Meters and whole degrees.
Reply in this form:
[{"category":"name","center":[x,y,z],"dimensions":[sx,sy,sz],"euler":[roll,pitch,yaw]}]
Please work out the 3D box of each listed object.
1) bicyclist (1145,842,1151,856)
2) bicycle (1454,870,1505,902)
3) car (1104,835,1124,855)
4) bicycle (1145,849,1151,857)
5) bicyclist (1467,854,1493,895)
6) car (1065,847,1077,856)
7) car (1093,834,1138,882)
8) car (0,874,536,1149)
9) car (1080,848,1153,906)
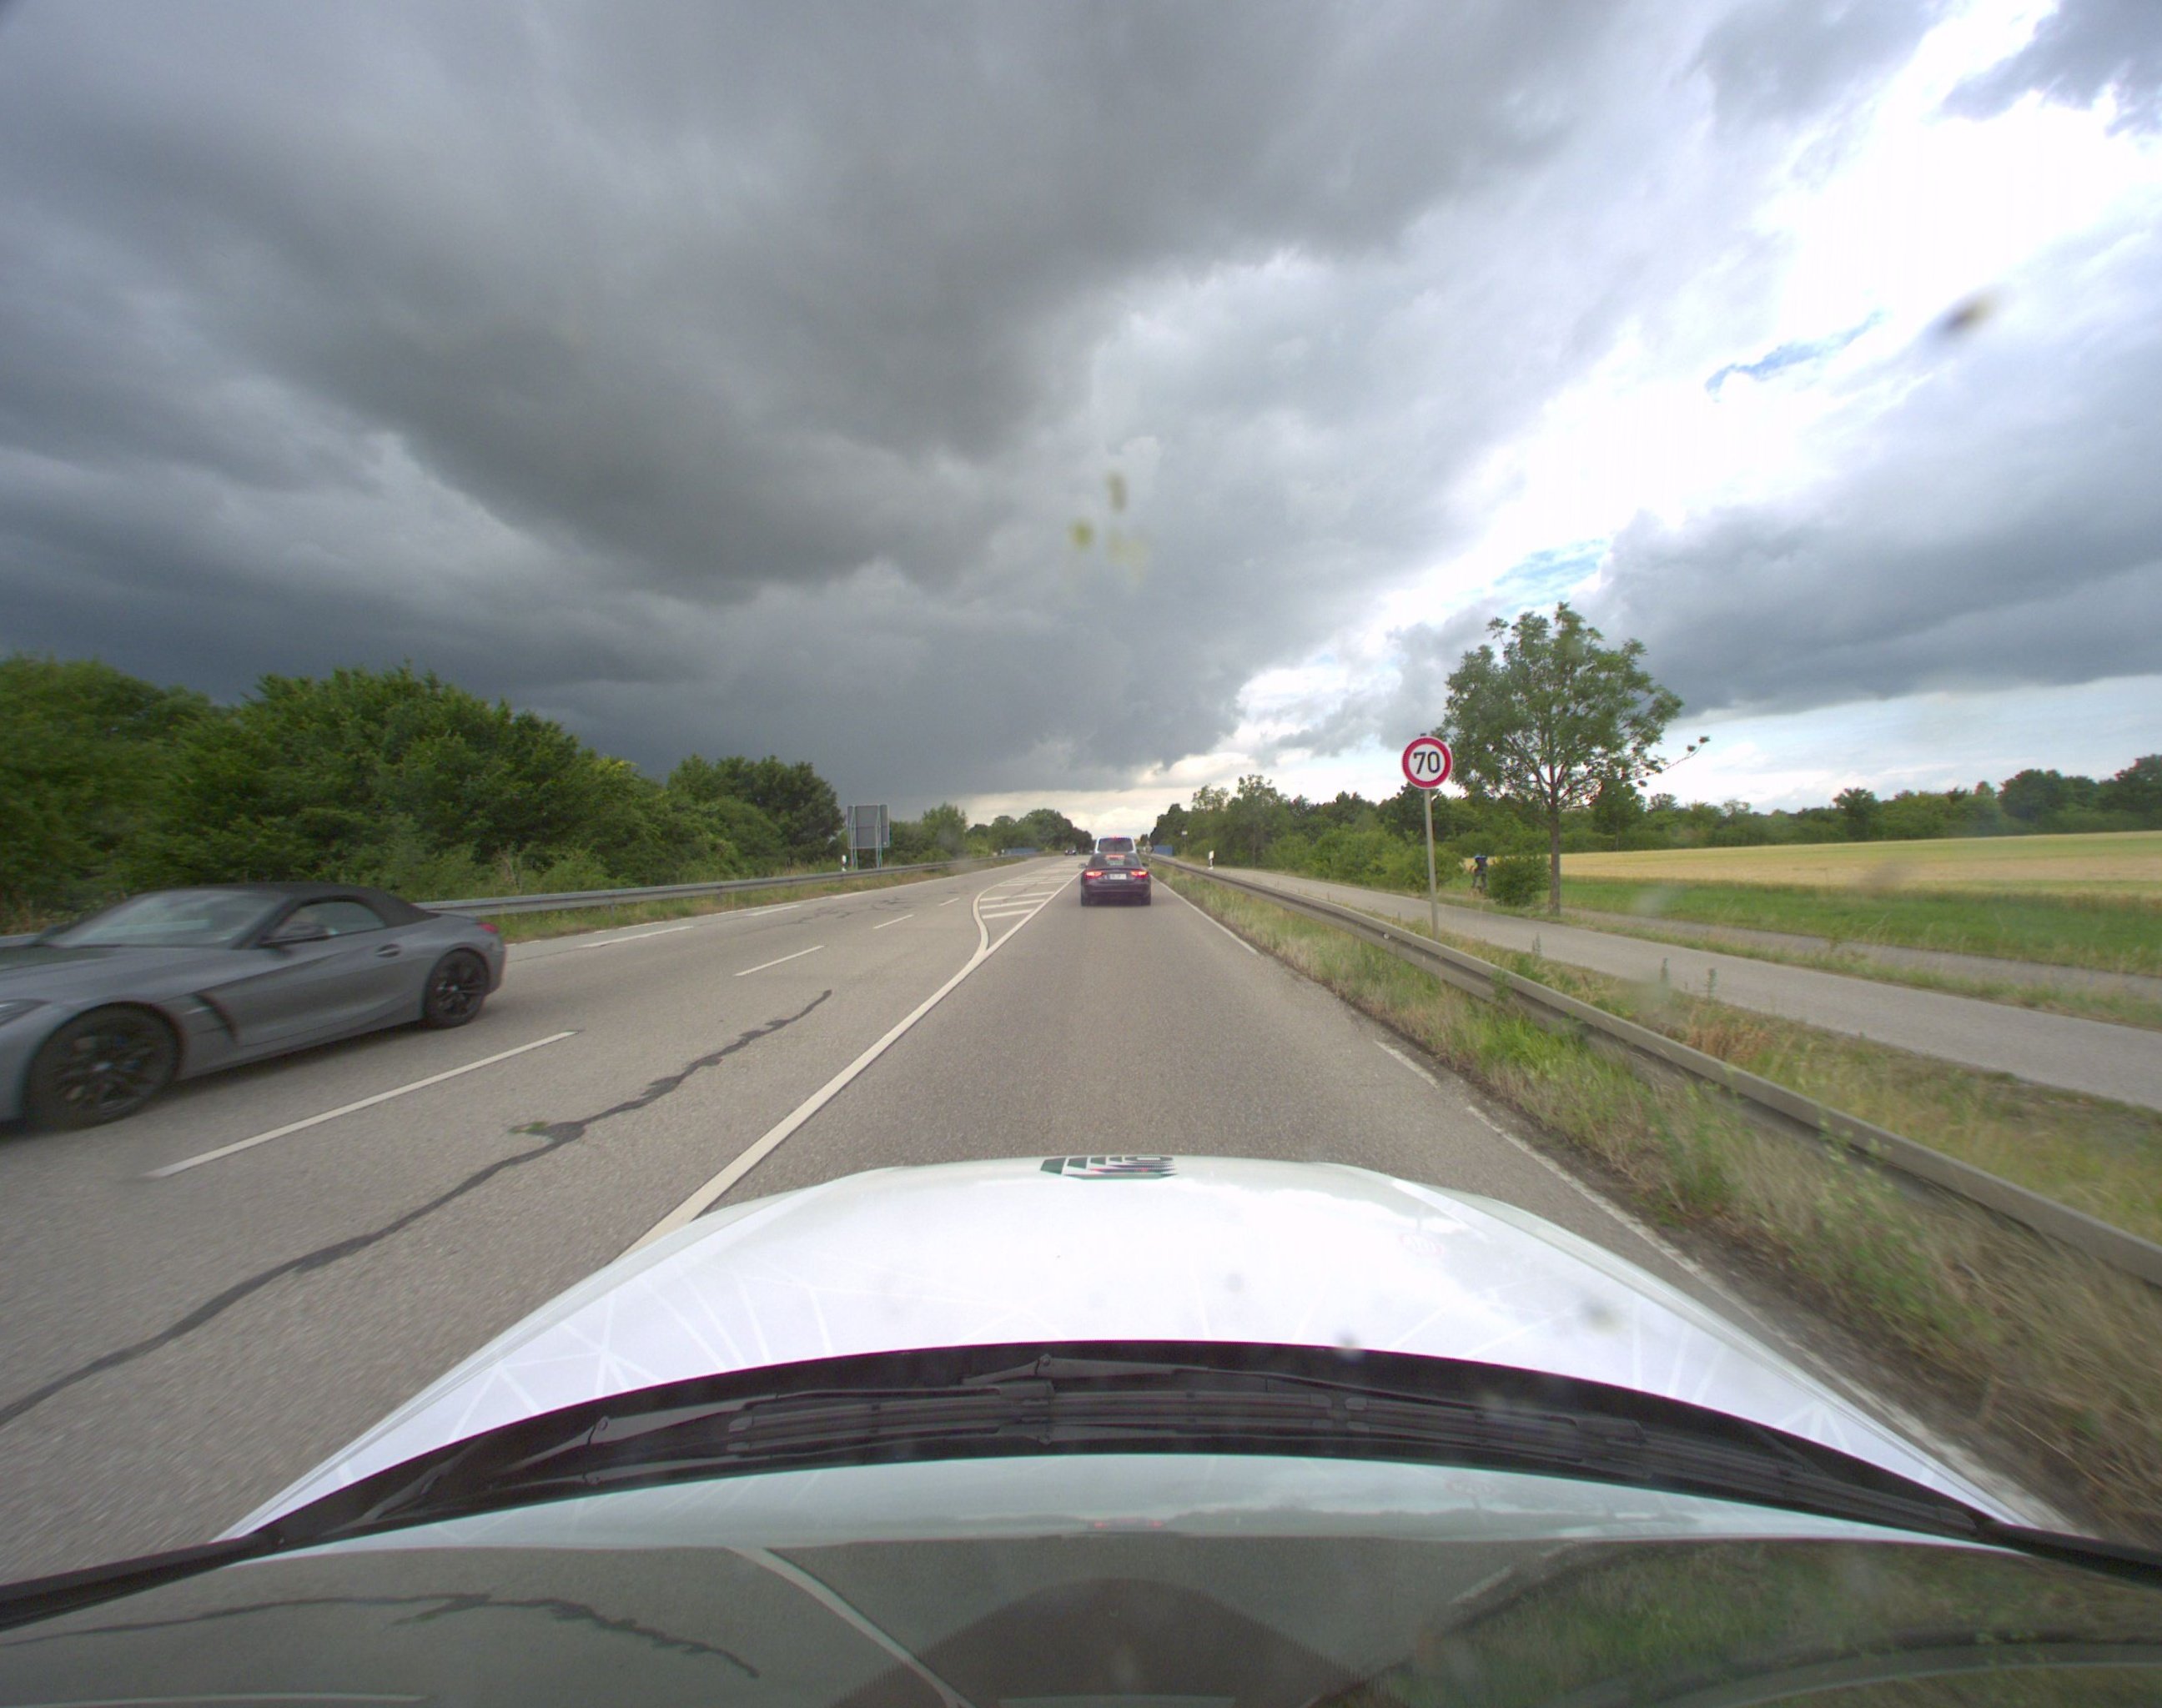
[{"category":"bicyclist","center":[7.945,-0.556,96.755],"dimensions":[0.644,1.645,0.866],"euler":[-2,0,2]},{"category":"bicycle","center":[15.454,1.219,31.678],"dimensions":[0.653,1.138,2.831],"euler":[0,-1,2]},{"category":"car","center":[4.086,-1.132,101.675],"dimensions":[2.437,2.504,5.045],"euler":[0,1,2]},{"category":"bicycle","center":[7.959,-0.155,96.697],"dimensions":[0.663,0.920,1.831],"euler":[-2,0,2]},{"category":"bicyclist","center":[15.433,0.792,31.518],"dimensions":[0.653,1.581,0.744],"euler":[0,-1,1]},{"category":"car","center":[-1.583,-0.467,132.583],"dimensions":[1.856,1.376,4.001],"euler":[-1,1,1]},{"category":"car","center":[1.449,0.157,34.510],"dimensions":[1.779,1.889,4.002],"euler":[0,0,2]},{"category":"car","center":[-6.517,0.863,5.915],"dimensions":[2.156,1.285,4.239],"euler":[-1,0,2]},{"category":"car","center":[0.950,0.568,22.120],"dimensions":[1.779,1.423,4.002],"euler":[0,0,2]}]
